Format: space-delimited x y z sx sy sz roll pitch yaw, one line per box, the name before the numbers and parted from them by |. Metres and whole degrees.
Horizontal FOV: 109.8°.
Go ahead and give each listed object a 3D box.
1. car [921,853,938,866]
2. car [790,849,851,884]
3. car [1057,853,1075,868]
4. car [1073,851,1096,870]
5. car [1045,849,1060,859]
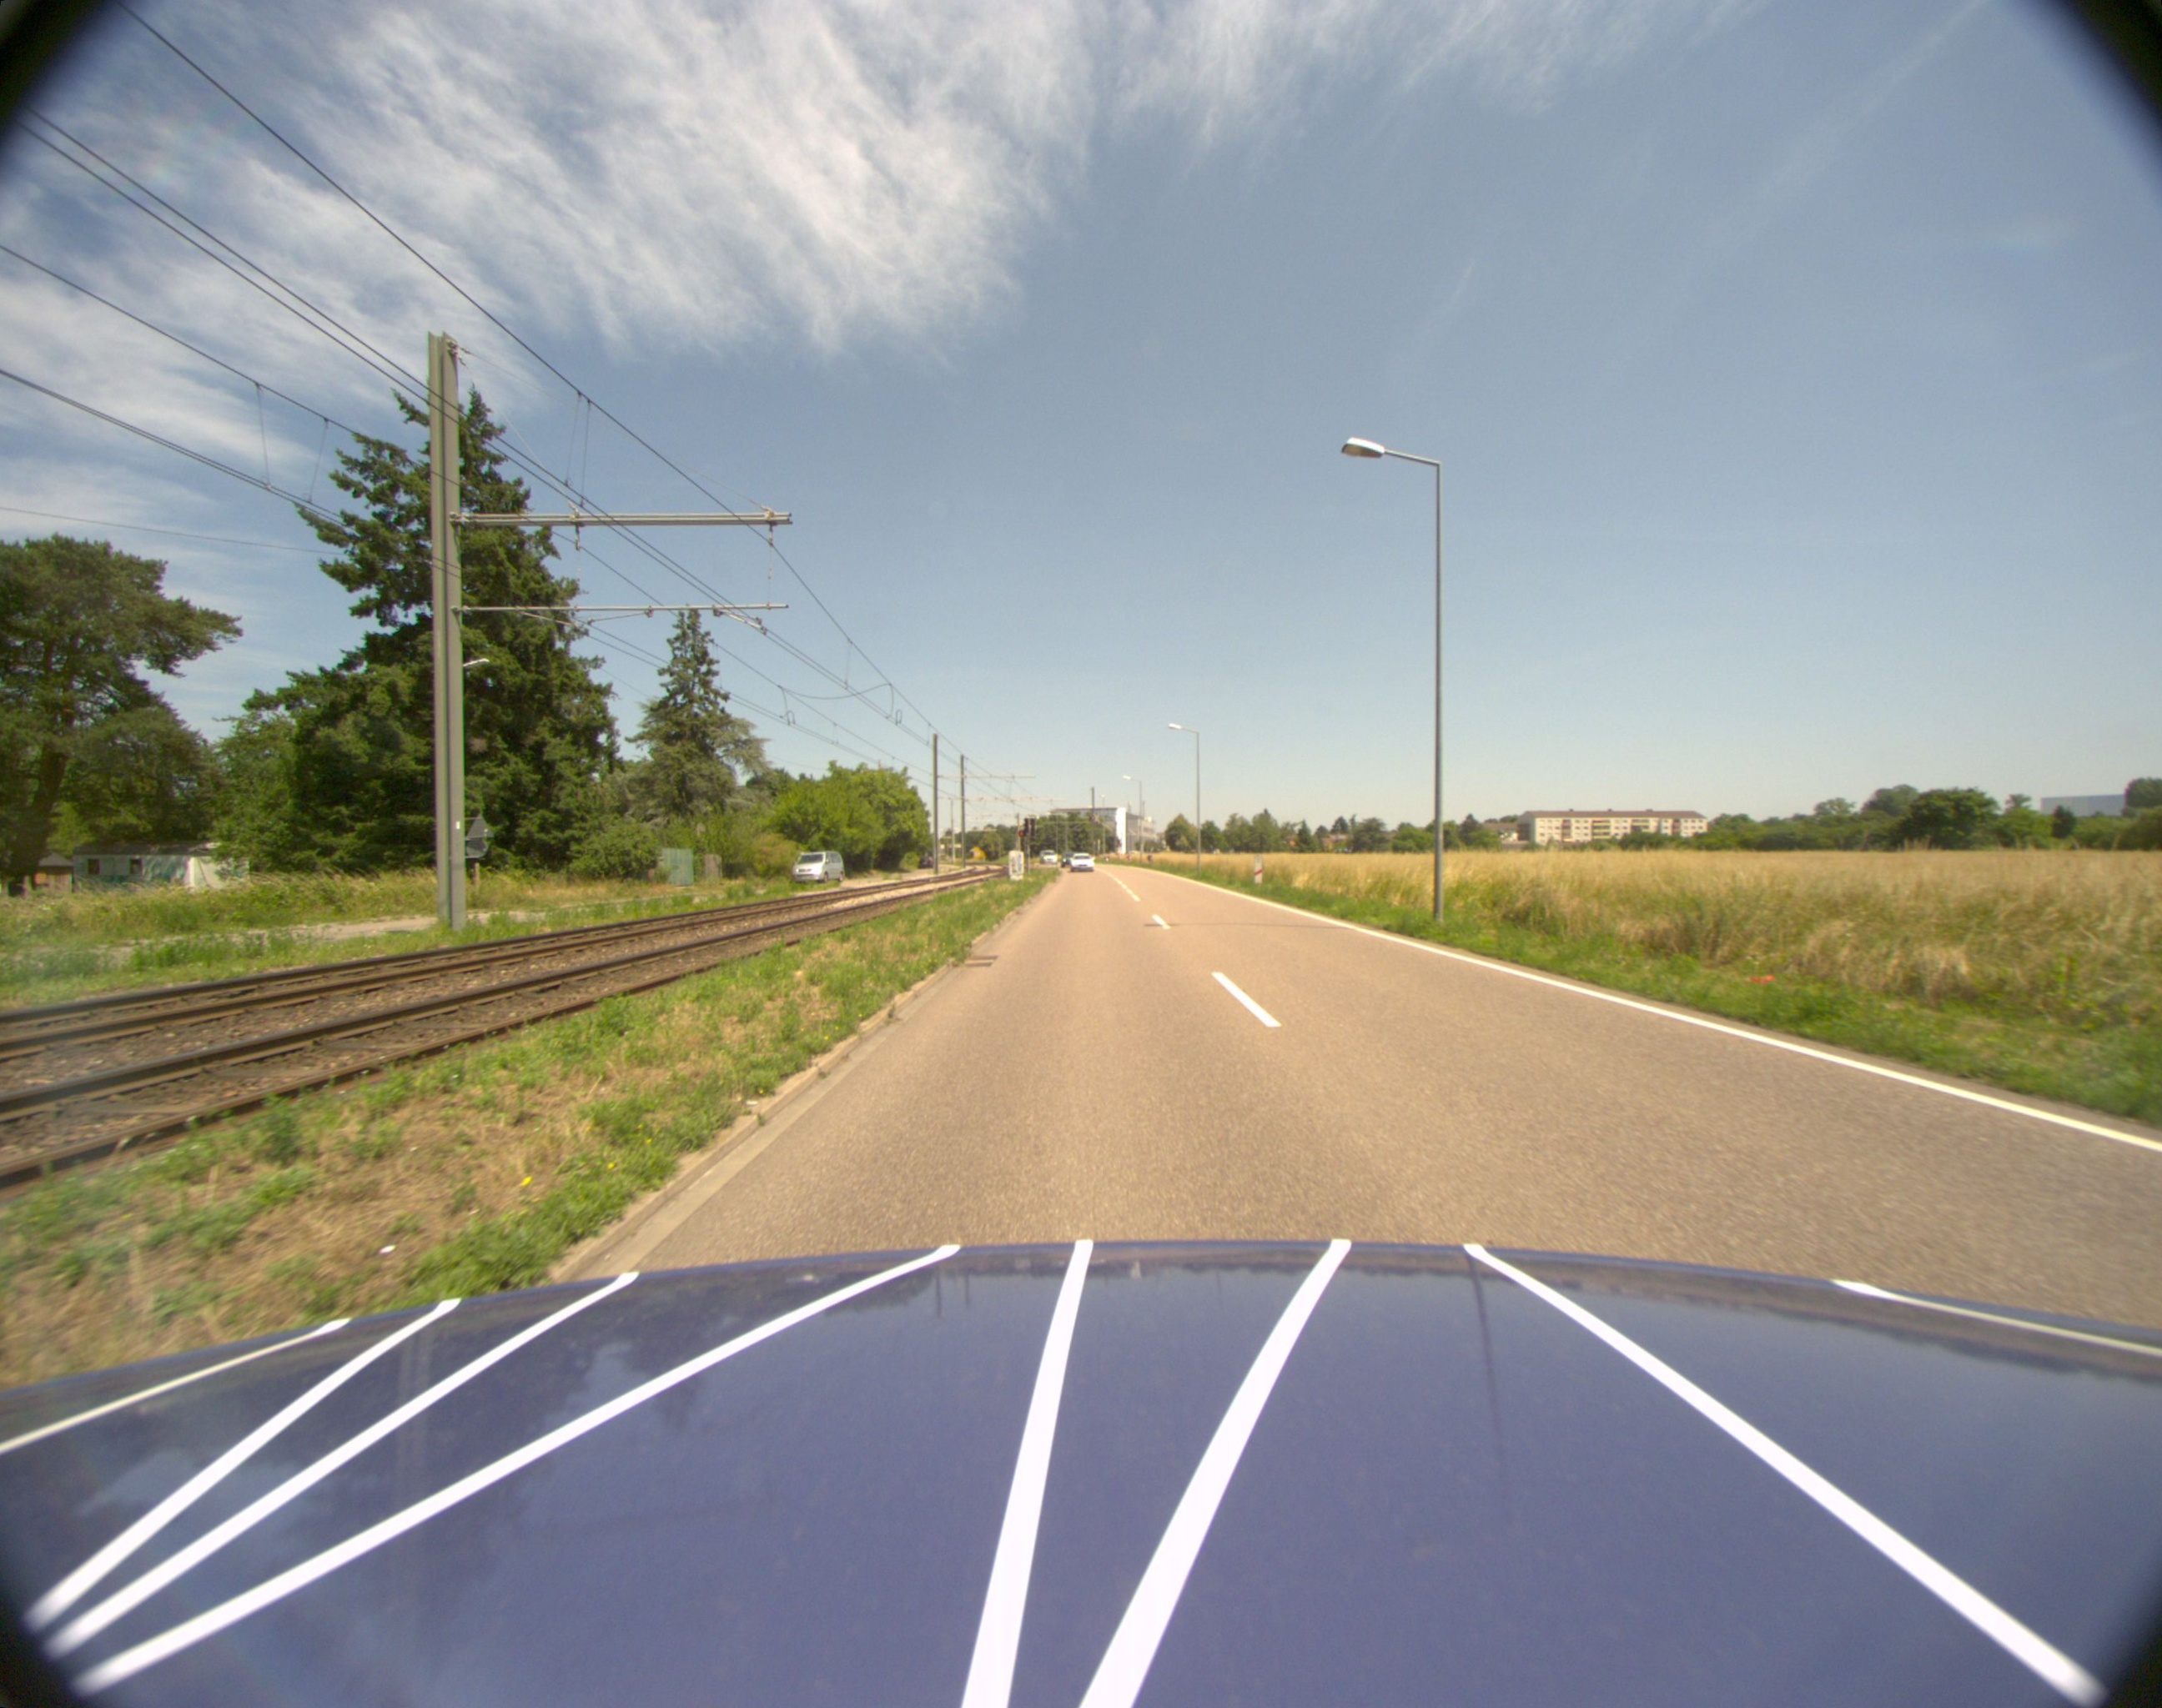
car | -18.885 0.679 94.842 1.802 1.418 4.736 -1 1 -7
car | -15.735 0.706 46.177 2.042 1.871 5.066 0 1 -2
car | -1.501 0.609 76.379 1.510 1.423 3.356 -1 1 -6
car | 0.330 0.511 61.583 1.771 1.434 4.129 0 1 2
car | -3.864 0.006 101.864 1.633 1.242 3.160 -1 1 -8
